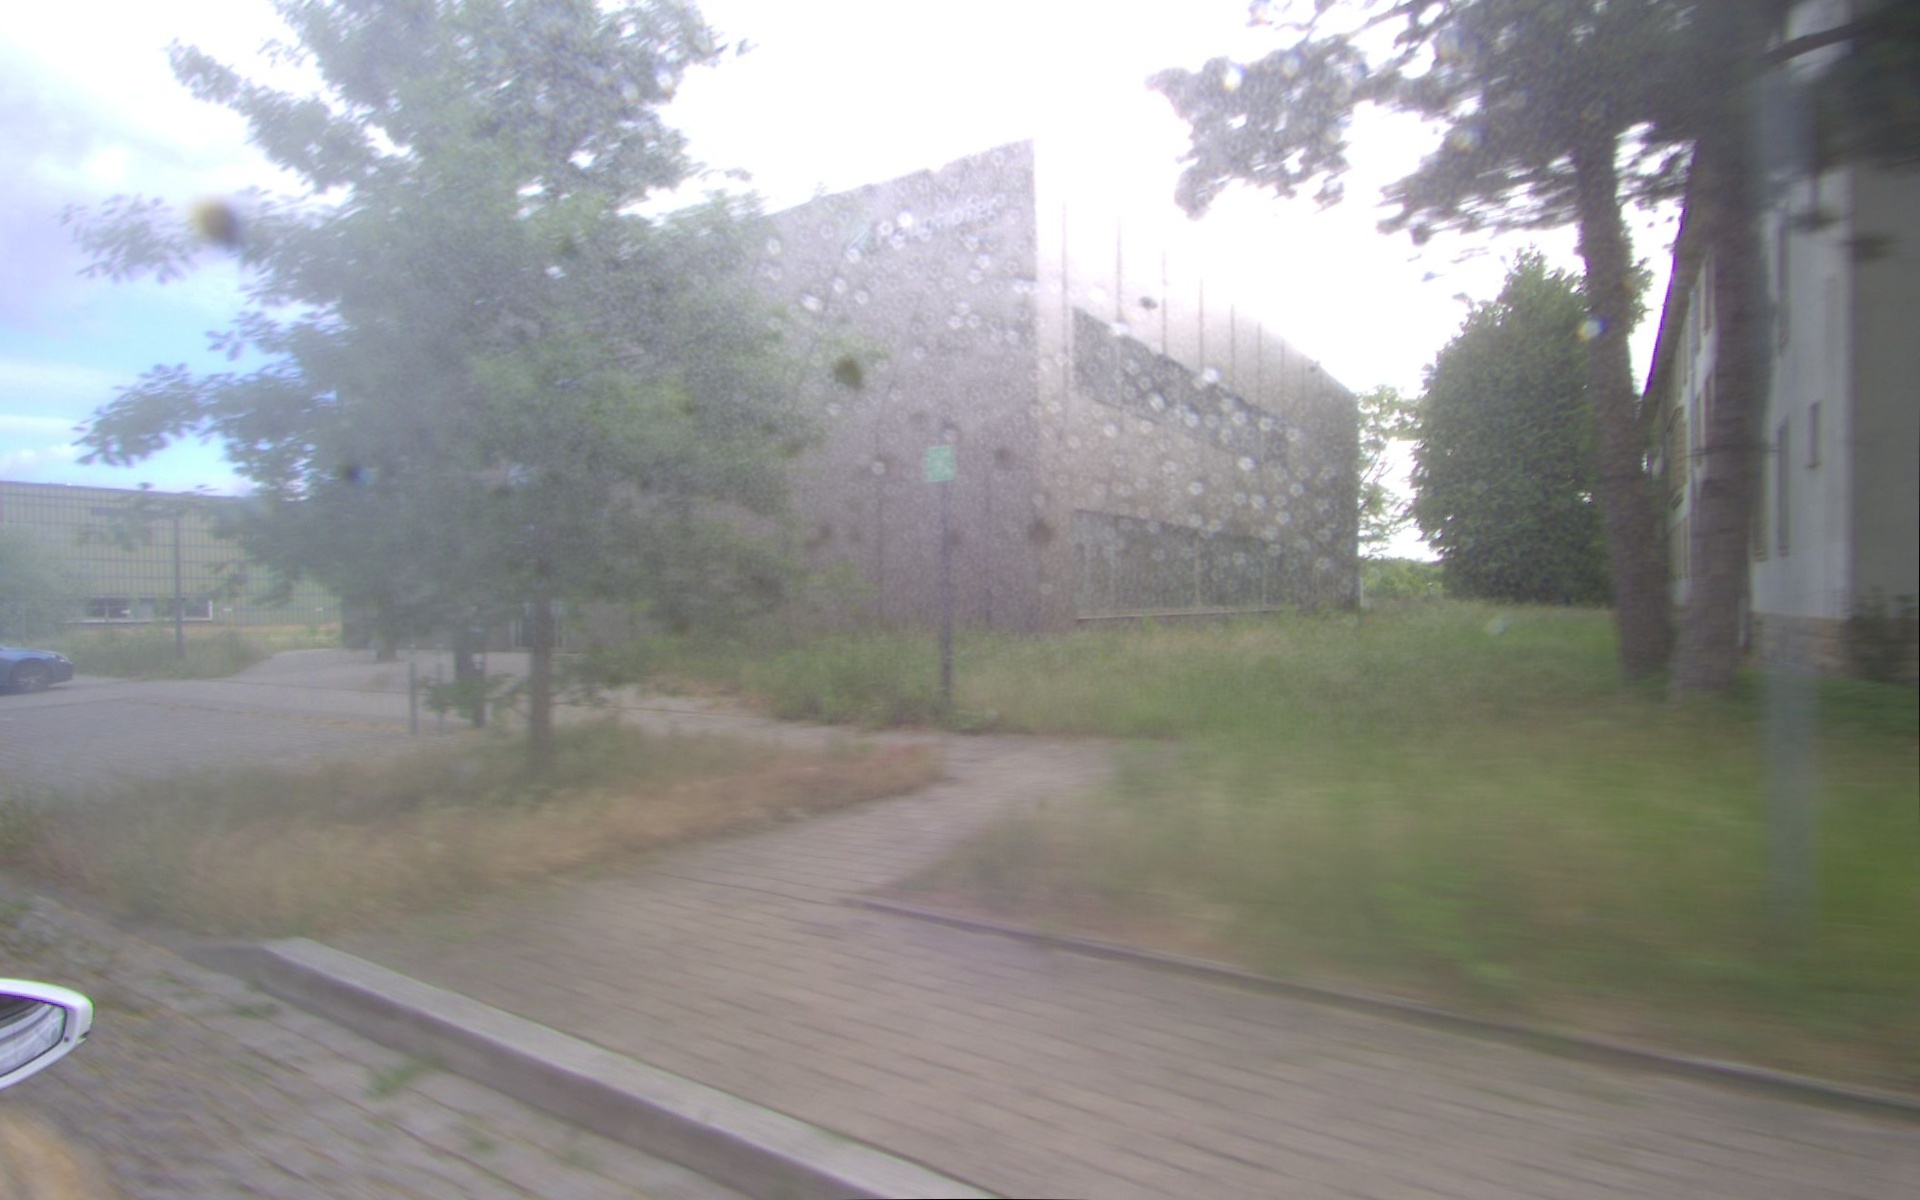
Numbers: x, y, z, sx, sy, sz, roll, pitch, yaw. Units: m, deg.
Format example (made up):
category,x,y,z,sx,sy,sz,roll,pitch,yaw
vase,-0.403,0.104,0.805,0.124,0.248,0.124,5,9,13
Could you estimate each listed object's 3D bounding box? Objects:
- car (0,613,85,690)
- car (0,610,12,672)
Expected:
category,x,y,z,sx,sy,sz,roll,pitch,yaw
car,-20.500,1.096,19.762,1.906,1.482,4.472,-1,1,31
car,-26.225,1.111,24.445,1.739,1.594,4.099,-1,2,31
